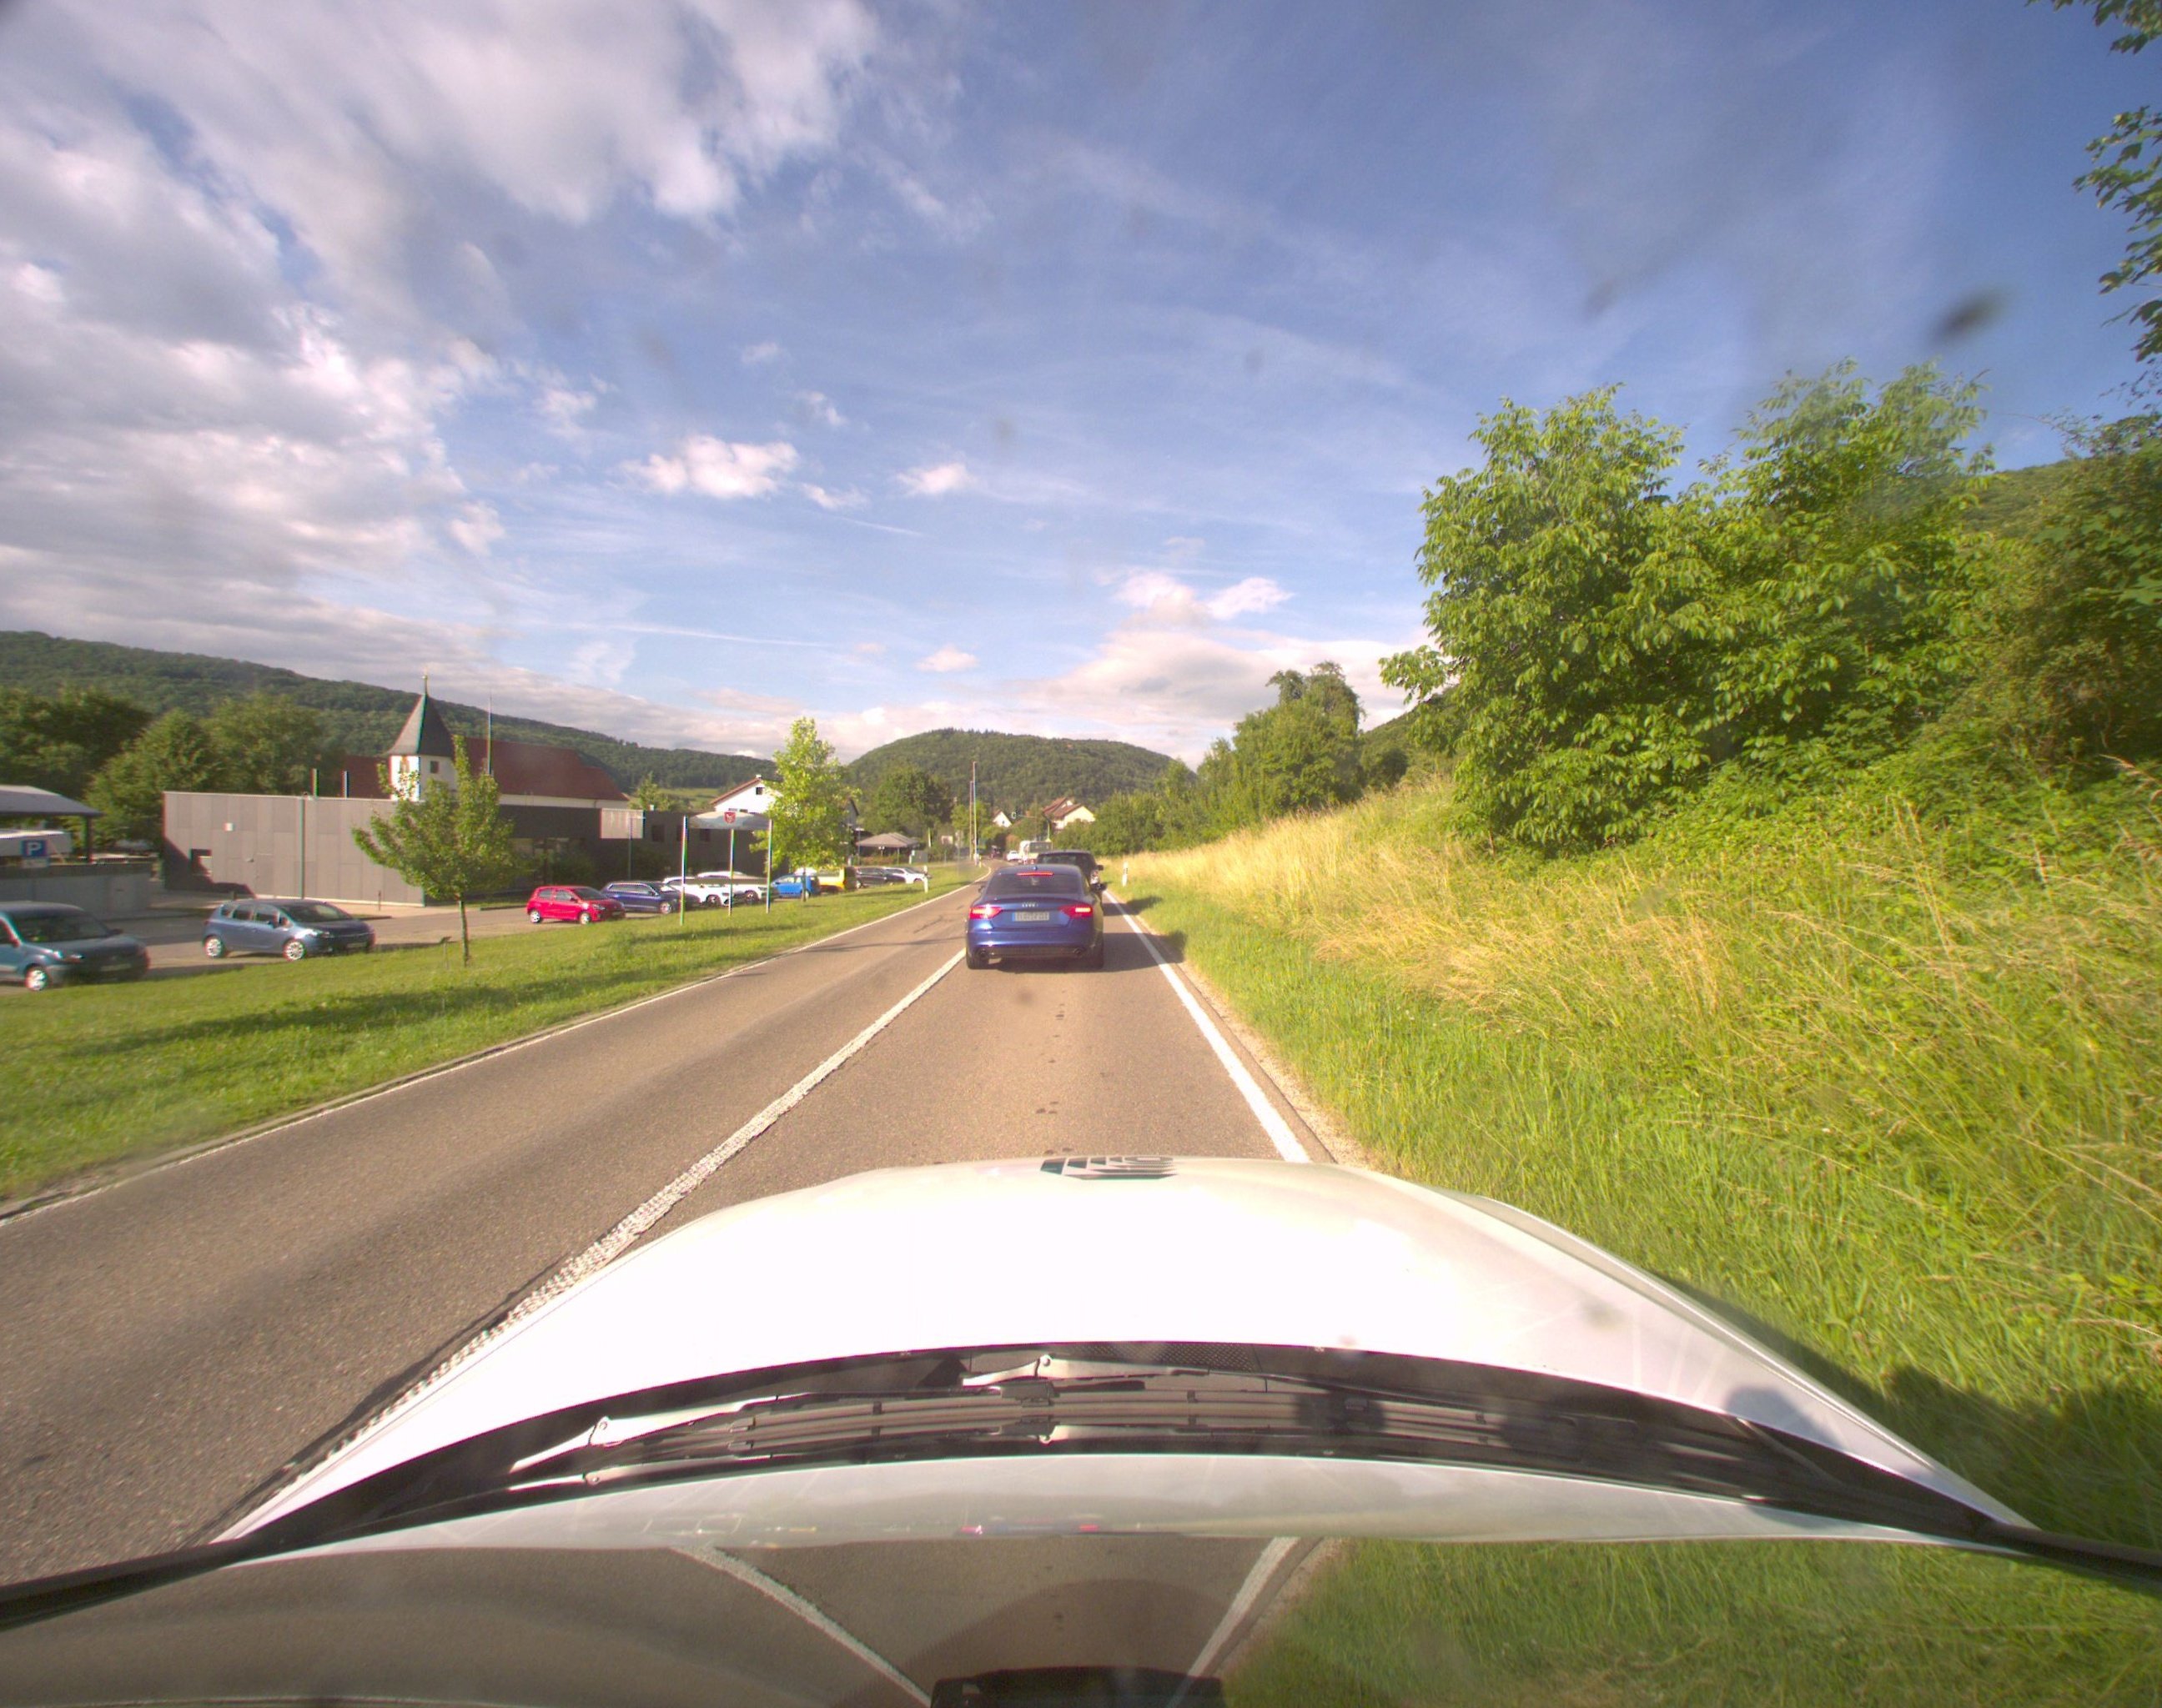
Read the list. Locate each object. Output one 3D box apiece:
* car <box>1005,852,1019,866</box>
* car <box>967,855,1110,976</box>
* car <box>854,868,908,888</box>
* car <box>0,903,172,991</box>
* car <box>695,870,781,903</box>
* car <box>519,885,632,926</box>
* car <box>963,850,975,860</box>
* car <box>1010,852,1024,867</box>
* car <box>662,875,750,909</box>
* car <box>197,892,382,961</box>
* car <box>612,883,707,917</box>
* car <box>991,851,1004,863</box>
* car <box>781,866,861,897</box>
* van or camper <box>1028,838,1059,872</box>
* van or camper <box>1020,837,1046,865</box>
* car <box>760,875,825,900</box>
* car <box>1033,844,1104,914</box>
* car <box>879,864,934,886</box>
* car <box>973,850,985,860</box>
[{"bbox_3d":[-9.704,0.742,114.407,1.660,1.924,3.985,-2,0,-10],"label":"car"},{"bbox_3d":[-0.570,0.754,11.708,1.738,1.450,3.514,-1,0,-2],"label":"car"},{"bbox_3d":[-15.317,1.833,62.414,3.689,1.439,1.514,-2,0,10],"label":"car"},{"bbox_3d":[-22.918,2.001,18.080,3.840,1.722,1.759,0,0,7],"label":"car"},{"bbox_3d":[-18.561,1.750,44.105,4.051,1.673,1.601,-2,0,10],"label":"car"},{"bbox_3d":[-20.229,2.035,32.644,3.601,1.444,1.653,0,1,10],"label":"car"},{"bbox_3d":[-23.796,0.229,172.403,1.683,1.924,3.973,-2,0,-20],"label":"car"},{"bbox_3d":[-8.386,0.734,106.691,1.658,1.924,3.991,-2,0,-7],"label":"car"},{"bbox_3d":[-18.755,1.911,40.760,3.643,1.493,1.602,-1,2,10],"label":"car"},{"bbox_3d":[-21.885,1.976,22.581,3.795,1.722,1.737,-1,-1,9],"label":"car"},{"bbox_3d":[-19.441,2.111,37.619,3.601,1.405,1.601,-1,1,10],"label":"car"},{"bbox_3d":[-14.262,0.477,138.720,1.679,1.924,3.982,-2,0,-13],"label":"car"},{"bbox_3d":[-16.785,1.742,52.613,4.524,1.815,1.847,-2,0,10],"label":"car"},{"bbox_3d":[-3.050,0.082,64.852,2.050,2.505,5.798,-2,0,-6],"label":"van or camper"},{"bbox_3d":[-4.904,-0.245,83.030,2.278,2.714,5.754,-2,0,-6],"label":"van or camper"},{"bbox_3d":[-17.682,2.024,50.025,3.355,1.373,1.662,-2,0,3],"label":"car"},{"bbox_3d":[-0.321,0.588,20.742,1.641,1.625,3.515,0,0,-1],"label":"car"},{"bbox_3d":[-14.342,1.693,66.861,4.010,1.660,1.661,-2,0,10],"label":"car"},{"bbox_3d":[-19.751,0.206,157.188,1.680,1.924,3.978,-2,0,-16],"label":"car"}]
